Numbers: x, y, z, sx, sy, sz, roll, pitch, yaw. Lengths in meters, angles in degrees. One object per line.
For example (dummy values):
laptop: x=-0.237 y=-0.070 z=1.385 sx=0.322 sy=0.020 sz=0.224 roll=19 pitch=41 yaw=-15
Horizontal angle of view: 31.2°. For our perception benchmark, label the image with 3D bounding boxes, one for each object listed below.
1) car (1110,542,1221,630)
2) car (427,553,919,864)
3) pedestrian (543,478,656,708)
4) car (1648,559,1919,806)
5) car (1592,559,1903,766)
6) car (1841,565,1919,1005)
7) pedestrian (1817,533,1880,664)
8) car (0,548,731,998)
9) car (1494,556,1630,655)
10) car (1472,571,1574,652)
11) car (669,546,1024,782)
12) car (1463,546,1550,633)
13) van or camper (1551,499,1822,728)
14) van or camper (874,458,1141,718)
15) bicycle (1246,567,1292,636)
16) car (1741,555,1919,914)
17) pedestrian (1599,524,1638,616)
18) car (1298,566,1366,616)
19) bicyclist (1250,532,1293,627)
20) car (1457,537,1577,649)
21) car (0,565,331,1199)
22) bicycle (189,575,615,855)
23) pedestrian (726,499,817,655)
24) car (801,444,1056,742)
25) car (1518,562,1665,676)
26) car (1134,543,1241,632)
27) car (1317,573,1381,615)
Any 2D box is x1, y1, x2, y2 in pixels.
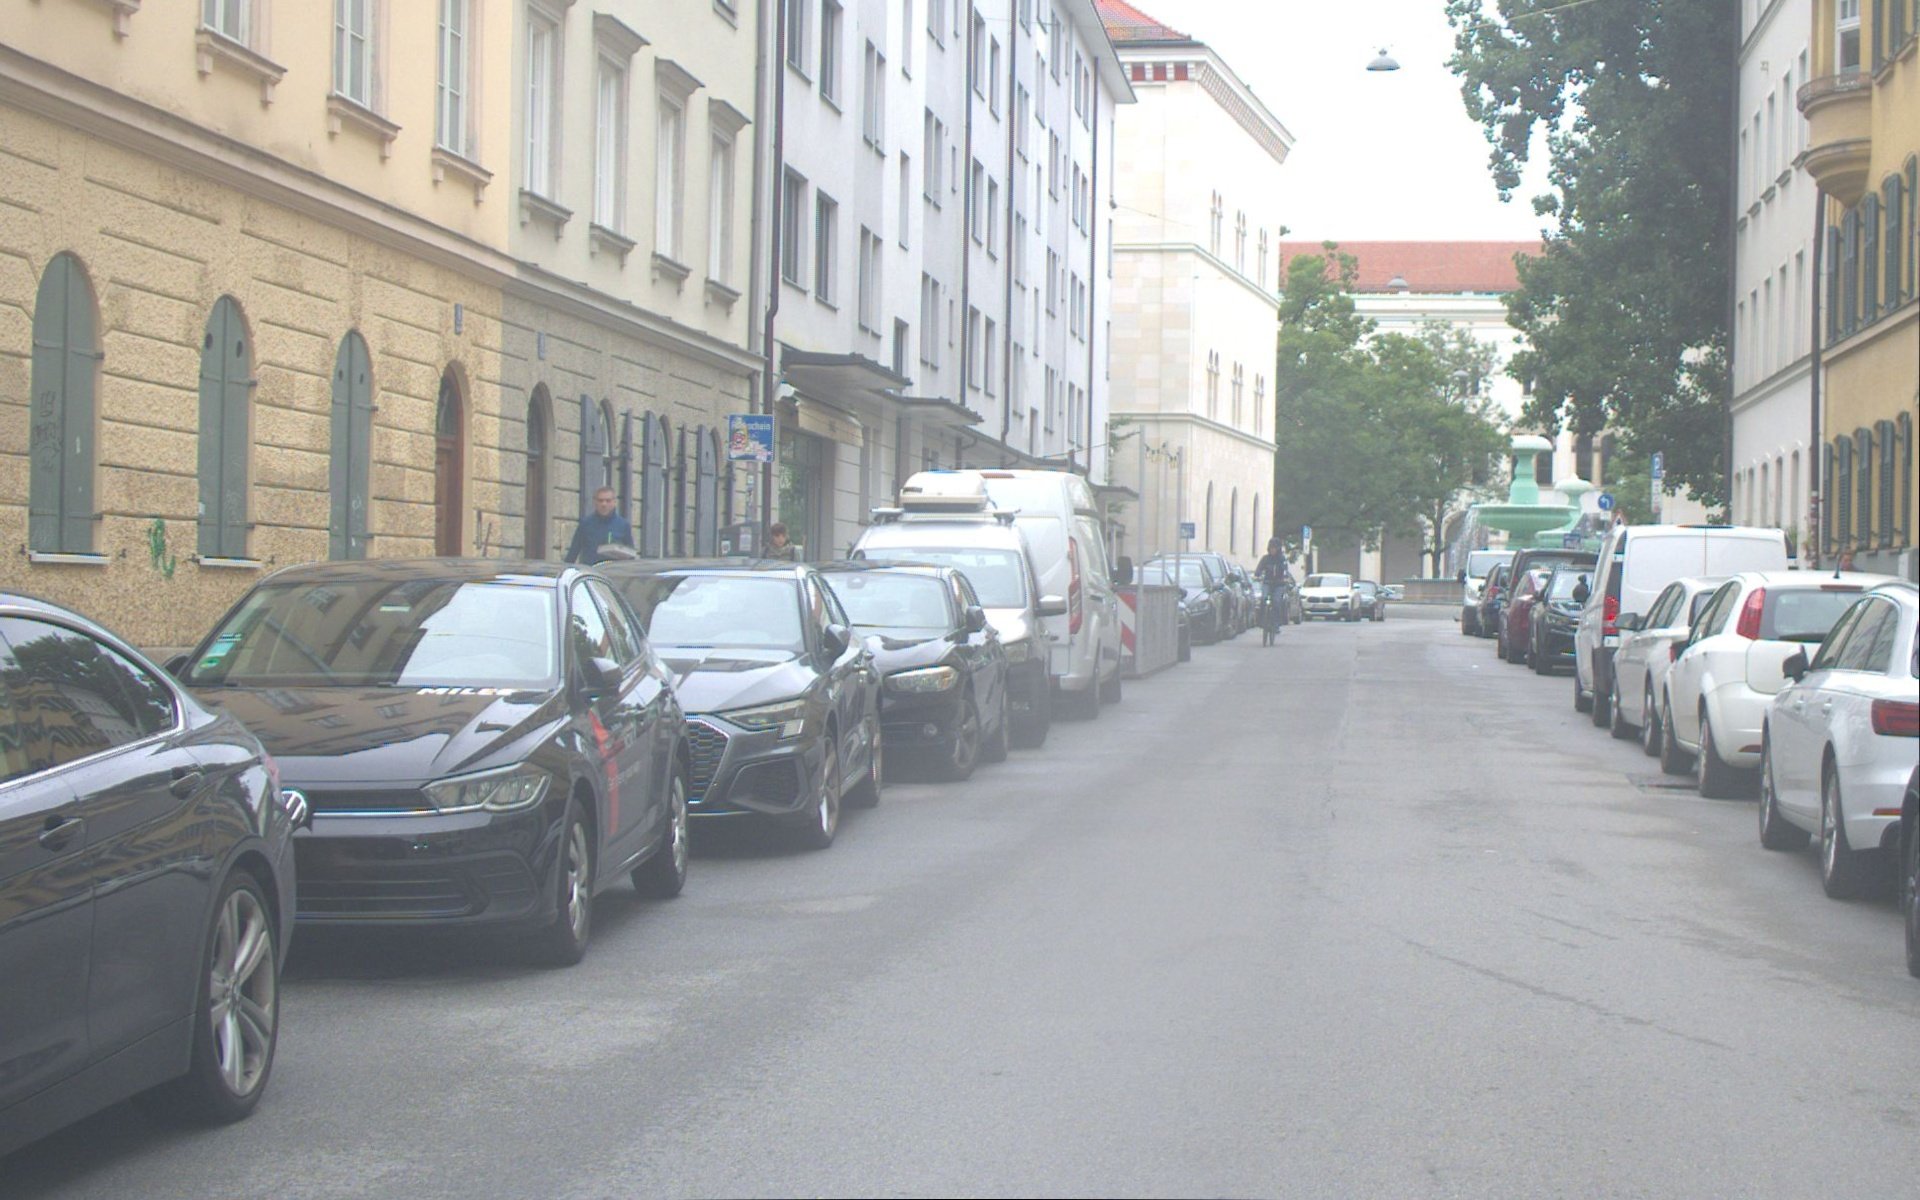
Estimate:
car: x=3.750 y=-0.282 z=62.234 sx=1.774 sy=1.534 sz=4.158 roll=0 pitch=1 yaw=6
car: x=-1.390 y=0.485 z=18.372 sx=1.858 sy=1.397 sz=4.268 roll=2 pitch=1 yaw=5
pedestrian: x=-3.208 y=-0.068 z=30.652 sx=0.806 sy=2.007 sz=0.750 roll=1 pitch=1 yaw=8
car: x=5.652 y=0.489 z=23.199 sx=1.624 sy=1.504 sz=3.761 roll=1 pitch=1 yaw=6
car: x=6.290 y=0.438 z=27.923 sx=1.816 sy=1.504 sz=4.587 roll=1 pitch=1 yaw=5
car: x=4.125 y=0.661 z=11.124 sx=1.717 sy=1.504 sz=3.936 roll=1 pitch=1 yaw=3
pedestrian: x=11.303 y=-0.031 z=43.762 sx=0.597 sy=1.633 sz=0.896 roll=-2 pitch=1 yaw=5
car: x=-2.172 y=0.534 z=13.362 sx=1.858 sy=1.397 sz=4.268 roll=2 pitch=1 yaw=5
car: x=9.257 y=0.070 z=53.123 sx=1.713 sy=1.419 sz=4.457 roll=2 pitch=0 yaw=6
car: x=12.036 y=0.222 z=73.682 sx=1.808 sy=1.595 sz=4.214 roll=2 pitch=1 yaw=5
car: x=-0.672 y=0.369 z=23.494 sx=1.858 sy=1.397 sz=4.268 roll=2 pitch=1 yaw=5
car: x=12.693 y=-0.253 z=79.795 sx=1.883 sy=1.918 sz=4.873 roll=2 pitch=1 yaw=9
van or camper: x=6.929 y=0.083 z=33.291 sx=1.994 sy=2.007 sz=5.232 roll=1 pitch=1 yaw=6
van or camper: x=0.566 y=-0.155 z=33.759 sx=1.994 sy=2.303 sz=5.477 roll=1 pitch=1 yaw=7
bicycle: x=5.360 y=0.015 z=59.554 sx=0.732 sy=1.147 sz=1.999 roll=2 pitch=1 yaw=6
car: x=4.892 y=0.554 z=16.603 sx=1.717 sy=1.504 sz=4.468 roll=1 pitch=1 yaw=7
pedestrian: x=15.999 y=-0.734 z=83.587 sx=0.793 sy=2.190 sz=0.813 roll=2 pitch=1 yaw=7
car: x=11.843 y=-0.277 z=109.358 sx=1.779 sy=1.529 sz=4.209 roll=0 pitch=-1 yaw=11
bicyclist: x=5.392 y=-0.359 z=59.506 sx=0.686 sy=1.621 sz=0.853 roll=2 pitch=1 yaw=6
car: x=9.667 y=-0.120 z=59.884 sx=1.847 sy=1.770 sz=4.199 roll=4 pitch=0 yaw=8
car: x=-2.838 y=0.629 z=7.218 sx=1.858 sy=1.397 sz=4.268 roll=2 pitch=1 yaw=5
bicycle: x=-2.153 y=0.428 z=13.239 sx=1.631 sy=1.038 sz=0.348 roll=0 pitch=0 yaw=17
pedestrian: x=-2.111 y=-0.267 z=38.581 sx=0.806 sy=1.706 sz=1.021 roll=1 pitch=1 yaw=8
car: x=-0.181 y=-0.086 z=28.320 sx=1.857 sy=2.194 sz=4.561 roll=2 pitch=1 yaw=1
car: x=8.703 y=0.227 z=47.616 sx=1.746 sy=1.459 sz=3.999 roll=1 pitch=1 yaw=7
car: x=4.503 y=-0.267 z=67.549 sx=1.873 sy=1.682 sz=4.519 roll=0 pitch=1 yaw=6
car: x=13.096 y=-0.189 z=115.635 sx=1.699 sy=1.388 sz=4.209 roll=0 pitch=-1 yaw=13
